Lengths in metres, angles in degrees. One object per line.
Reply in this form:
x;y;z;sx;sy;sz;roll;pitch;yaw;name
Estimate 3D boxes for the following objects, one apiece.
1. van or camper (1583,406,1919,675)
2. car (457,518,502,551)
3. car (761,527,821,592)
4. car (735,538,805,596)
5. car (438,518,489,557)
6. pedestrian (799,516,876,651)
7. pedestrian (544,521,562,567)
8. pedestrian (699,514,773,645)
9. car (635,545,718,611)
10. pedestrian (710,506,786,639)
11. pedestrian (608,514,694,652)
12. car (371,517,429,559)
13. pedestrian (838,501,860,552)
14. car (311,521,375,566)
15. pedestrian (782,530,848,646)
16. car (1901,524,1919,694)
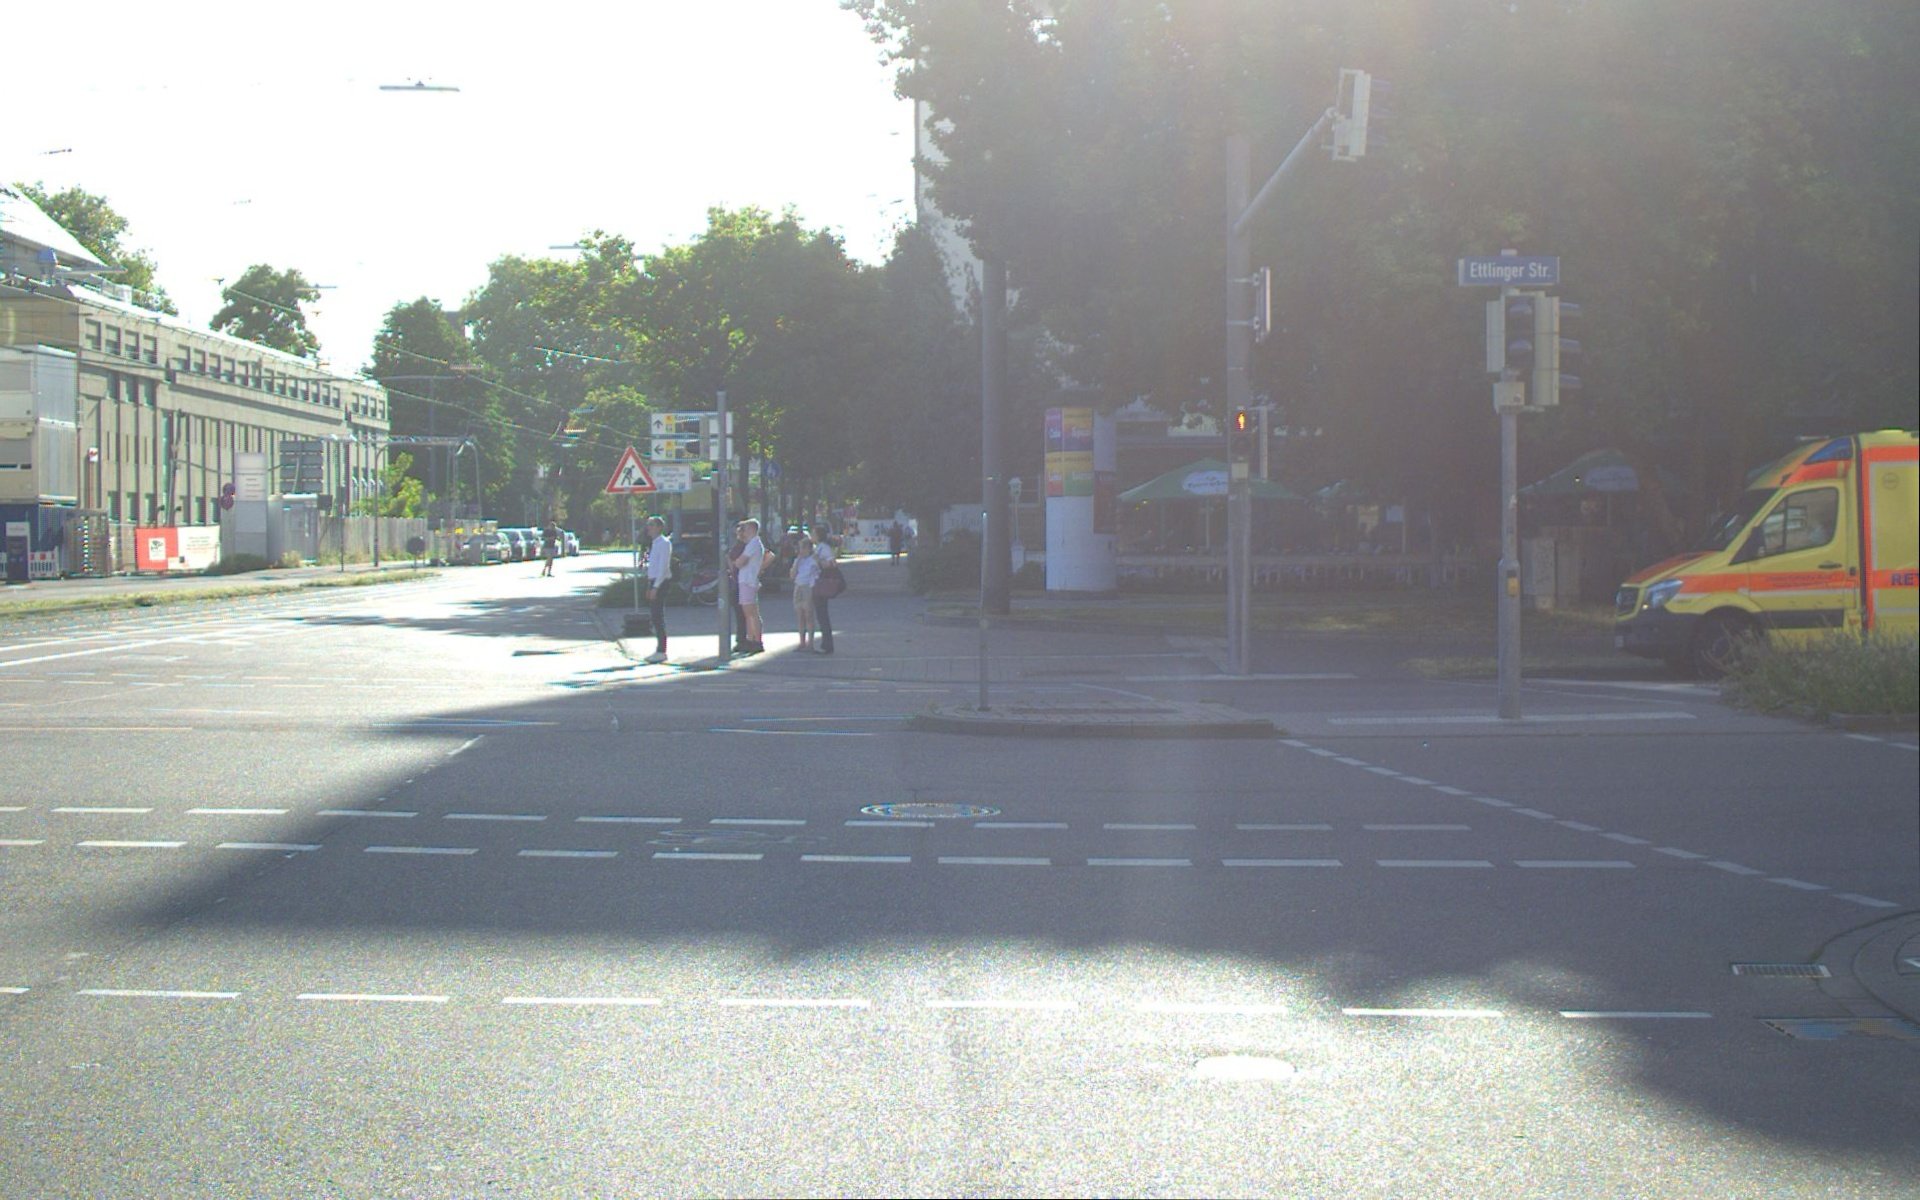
10.596;-0.608;38.675;6.709;2.852;2.910;1;0;4;van or camper
-22.374;-3.033;160.123;1.609;1.493;3.806;0;1;-1;car
-5.281;-1.257;107.619;1.684;1.955;3.509;1;0;-1;car
-5.063;-0.865;92.006;1.684;1.495;3.509;1;0;-1;car
-22.499;-2.825;155.862;1.819;1.706;3.806;0;1;-1;car
-1.646;-0.228;46.009;0.847;1.778;0.780;-1;1;-17;pedestrian
-13.137;-1.807;110.978;0.524;1.479;0.437;1;0;-2;pedestrian
-3.086;-0.282;47.287;0.847;1.778;0.780;-1;1;-17;pedestrian
-6.730;-0.504;81.847;1.684;1.495;3.509;1;0;-1;car
-2.866;-0.375;46.468;0.847;1.778;0.780;-1;1;-17;pedestrian
-4.045;-0.233;44.919;0.965;1.778;0.780;-1;1;-17;pedestrian
-23.471;-2.592;144.181;1.819;1.706;3.806;0;1;-1;car
-7.934;-5.239;245.614;1.401;3.584;1.568;1;0;-1;pedestrian
-23.926;-2.198;133.454;1.819;1.706;3.806;0;1;-1;car
-1.965;-0.170;46.678;0.762;1.553;0.588;-1;1;-17;pedestrian
11.448;0.142;32.945;4.314;1.641;1.888;1;0;0;car
